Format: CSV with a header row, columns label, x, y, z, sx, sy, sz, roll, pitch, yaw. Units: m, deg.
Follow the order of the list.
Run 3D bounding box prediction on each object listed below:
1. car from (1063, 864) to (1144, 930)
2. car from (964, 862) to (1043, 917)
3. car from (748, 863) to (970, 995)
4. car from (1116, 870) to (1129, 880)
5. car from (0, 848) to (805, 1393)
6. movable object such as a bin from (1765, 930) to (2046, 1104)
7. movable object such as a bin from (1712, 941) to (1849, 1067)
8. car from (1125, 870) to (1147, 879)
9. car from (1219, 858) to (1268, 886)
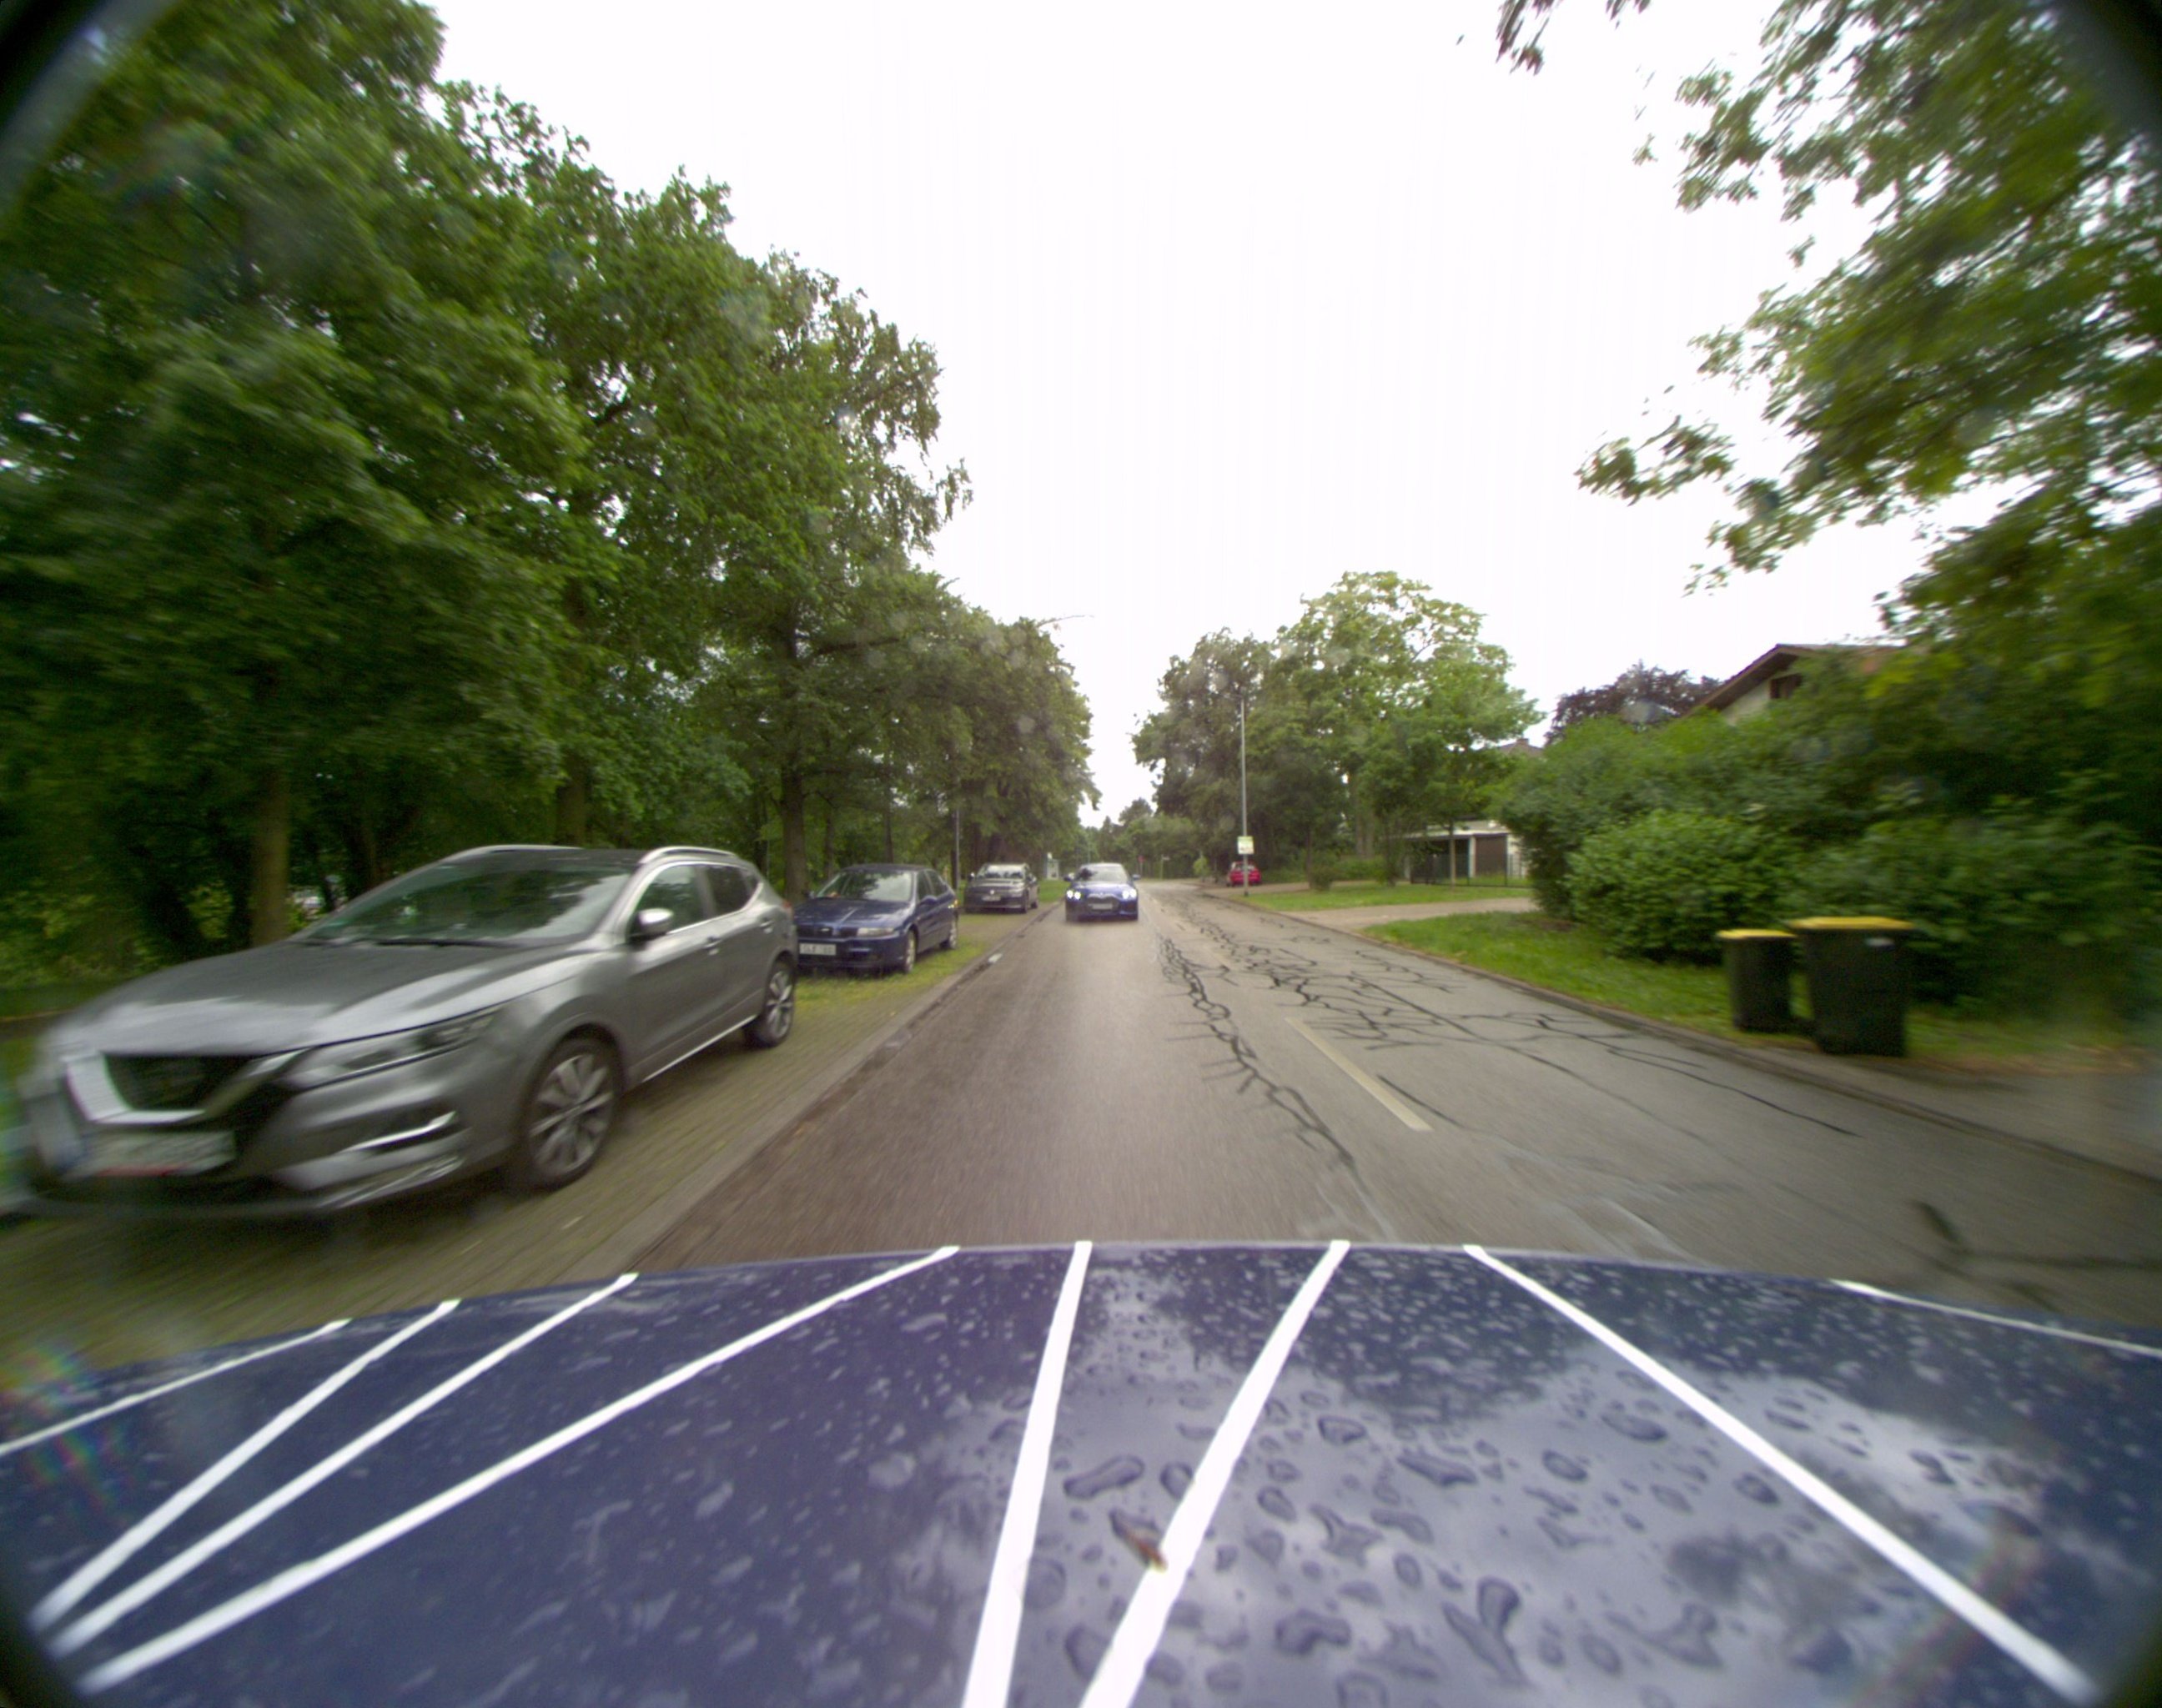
label,x,y,z,sx,sy,sz,roll,pitch,yaw
car,0.544,1.029,19.396,1.839,1.501,4.001,0,-1,1
car,-2.240,0.989,22.904,1.704,1.453,4.218,1,0,3
car,-2.962,0.915,11.099,1.747,1.444,4.001,4,0,4
car,6.512,3.335,120.227,1.705,1.401,4.009,2,-2,0
car,-3.257,0.933,4.552,1.786,1.709,4.262,2,-2,-3
movable object such as a bin,6.142,1.181,5.747,1.040,1.098,0.966,-2,0,4
movable object such as a bin,6.002,1.266,6.550,0.649,0.973,0.578,0,0,4
car,10.386,3.934,144.437,3.863,1.577,1.817,-1,-1,-6
car,9.940,1.069,46.848,1.999,1.507,3.998,2,1,-2
